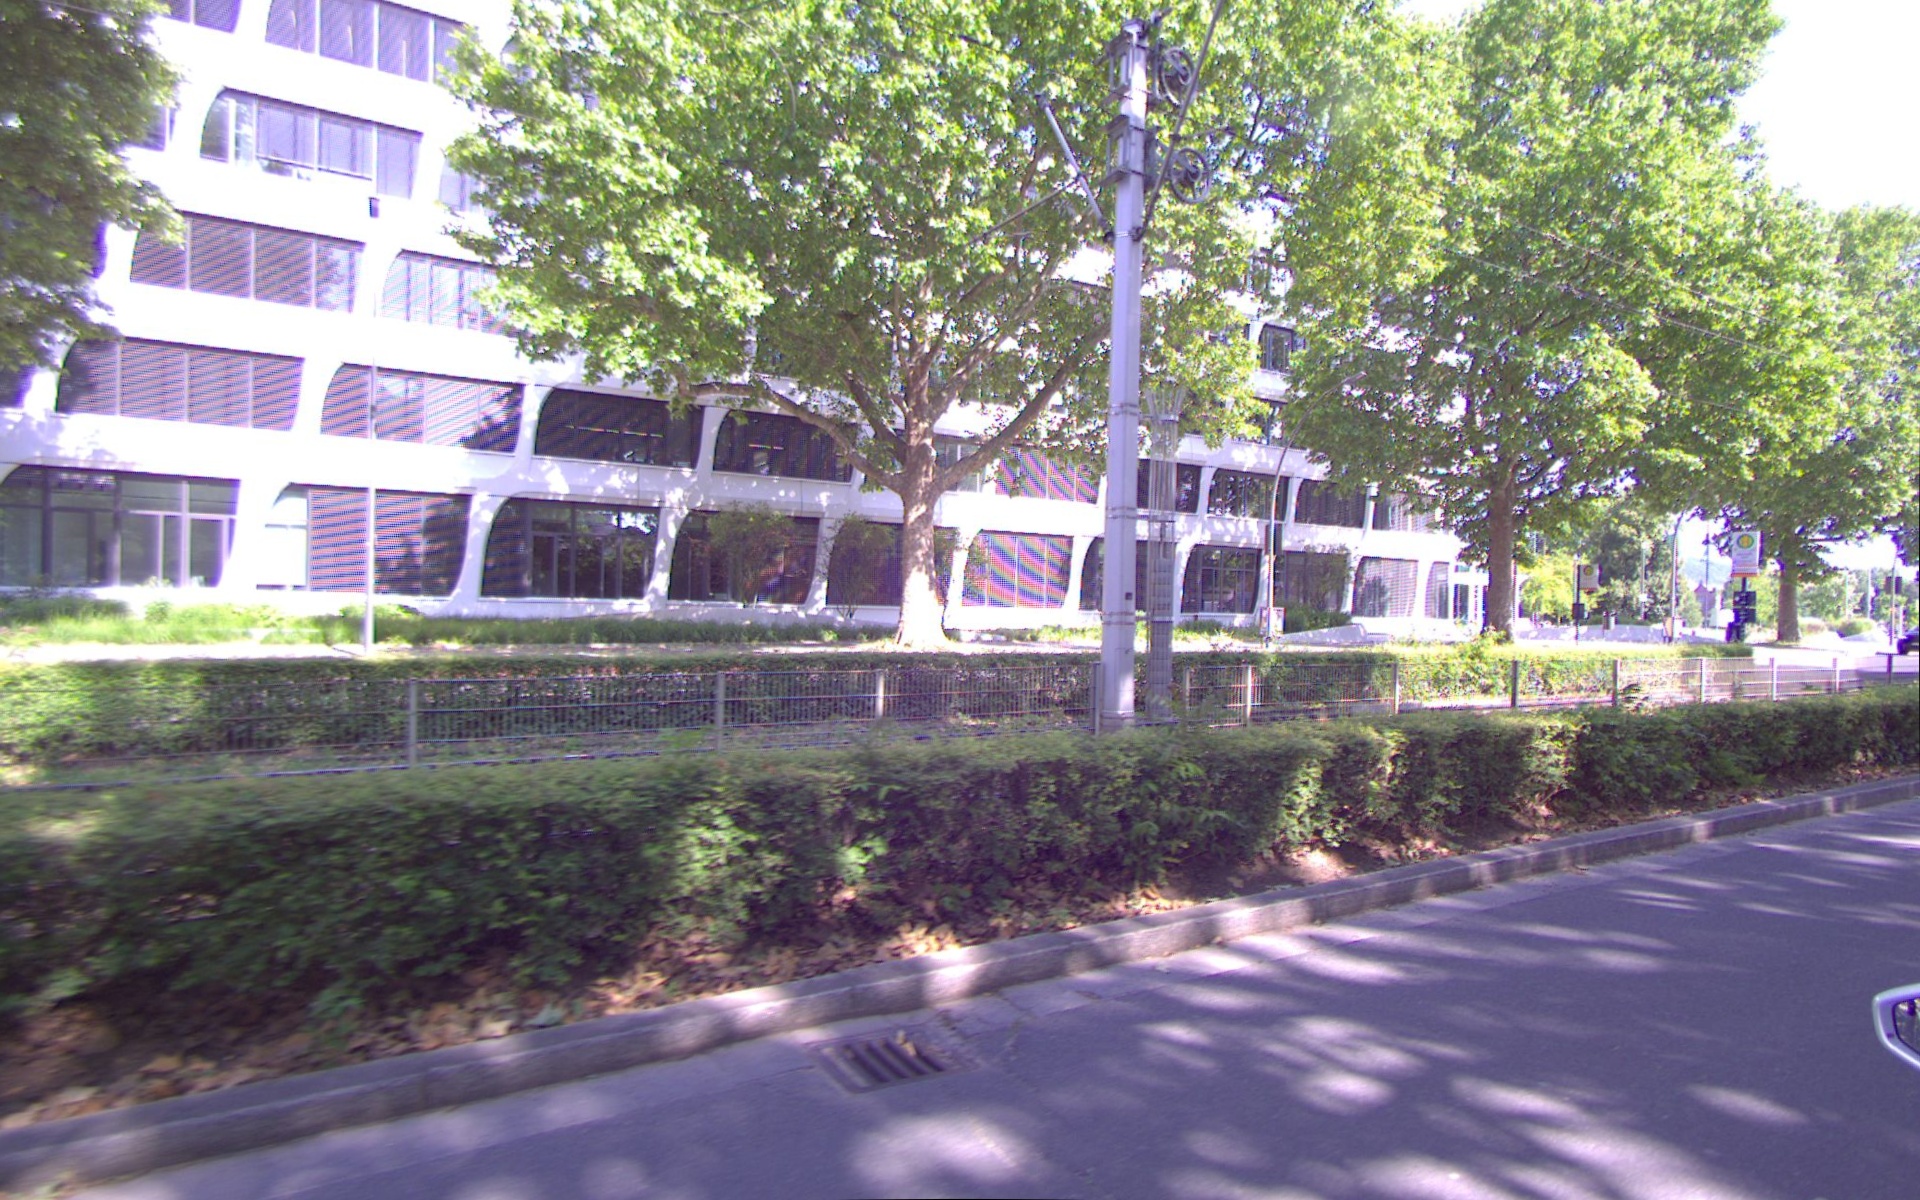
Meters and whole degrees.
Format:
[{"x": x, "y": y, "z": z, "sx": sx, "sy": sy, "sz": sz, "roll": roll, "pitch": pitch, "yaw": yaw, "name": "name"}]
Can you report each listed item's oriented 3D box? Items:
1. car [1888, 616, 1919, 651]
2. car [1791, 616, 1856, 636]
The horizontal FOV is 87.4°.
[{"x": 48.108, "y": 1.680, "z": 49.715, "sx": 4.838, "sy": 1.646, "sz": 1.821, "roll": 1, "pitch": 0, "yaw": -30, "name": "car"}, {"x": 73.582, "y": 2.191, "z": 85.607, "sx": 1.748, "sy": 1.569, "sz": 3.831, "roll": 1, "pitch": 0, "yaw": -29, "name": "car"}]
